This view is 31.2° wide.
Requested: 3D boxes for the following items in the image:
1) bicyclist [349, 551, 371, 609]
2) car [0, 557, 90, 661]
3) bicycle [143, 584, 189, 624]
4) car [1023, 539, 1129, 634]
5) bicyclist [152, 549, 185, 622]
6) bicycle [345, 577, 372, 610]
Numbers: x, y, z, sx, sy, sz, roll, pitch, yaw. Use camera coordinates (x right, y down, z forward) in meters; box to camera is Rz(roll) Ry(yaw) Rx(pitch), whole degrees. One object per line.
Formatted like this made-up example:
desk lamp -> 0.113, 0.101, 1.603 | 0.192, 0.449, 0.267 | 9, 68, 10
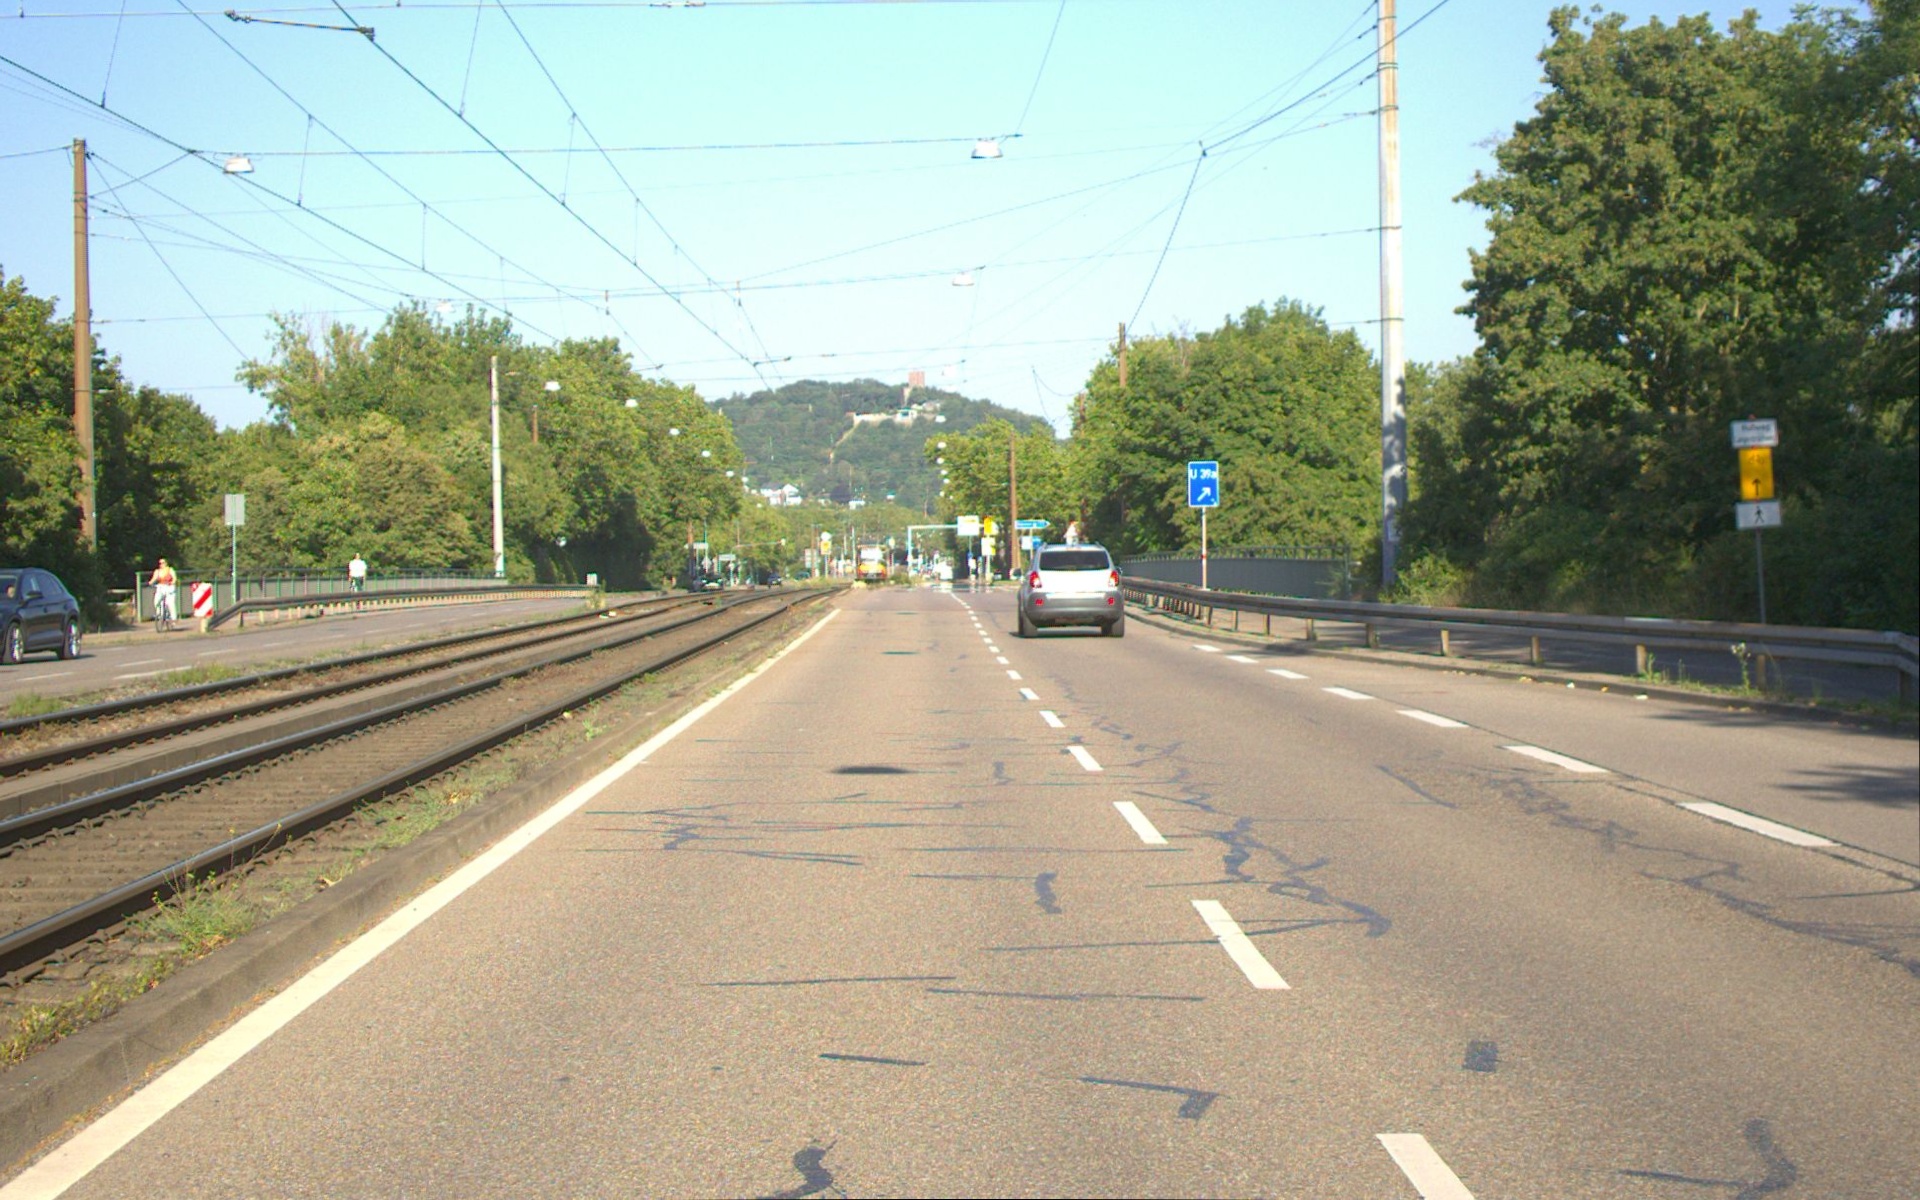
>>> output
bicyclist -> -19.313, -0.644, 110.599 | 0.540, 1.856, 0.875 | 1, 1, -1
car -> -16.422, 0.149, 58.089 | 1.994, 1.680, 4.795 | -2, 1, 3
bicycle -> -18.553, 0.081, 80.349 | 0.507, 0.889, 2.027 | 1, 1, 2
car -> 2.141, -0.269, 63.704 | 1.888, 1.688, 4.256 | 0, 1, 2
bicyclist -> -18.537, -0.339, 80.511 | 0.507, 1.681, 0.919 | 1, 1, 2
bicycle -> -19.317, -0.221, 110.415 | 0.540, 1.040, 1.925 | 1, 1, -1
